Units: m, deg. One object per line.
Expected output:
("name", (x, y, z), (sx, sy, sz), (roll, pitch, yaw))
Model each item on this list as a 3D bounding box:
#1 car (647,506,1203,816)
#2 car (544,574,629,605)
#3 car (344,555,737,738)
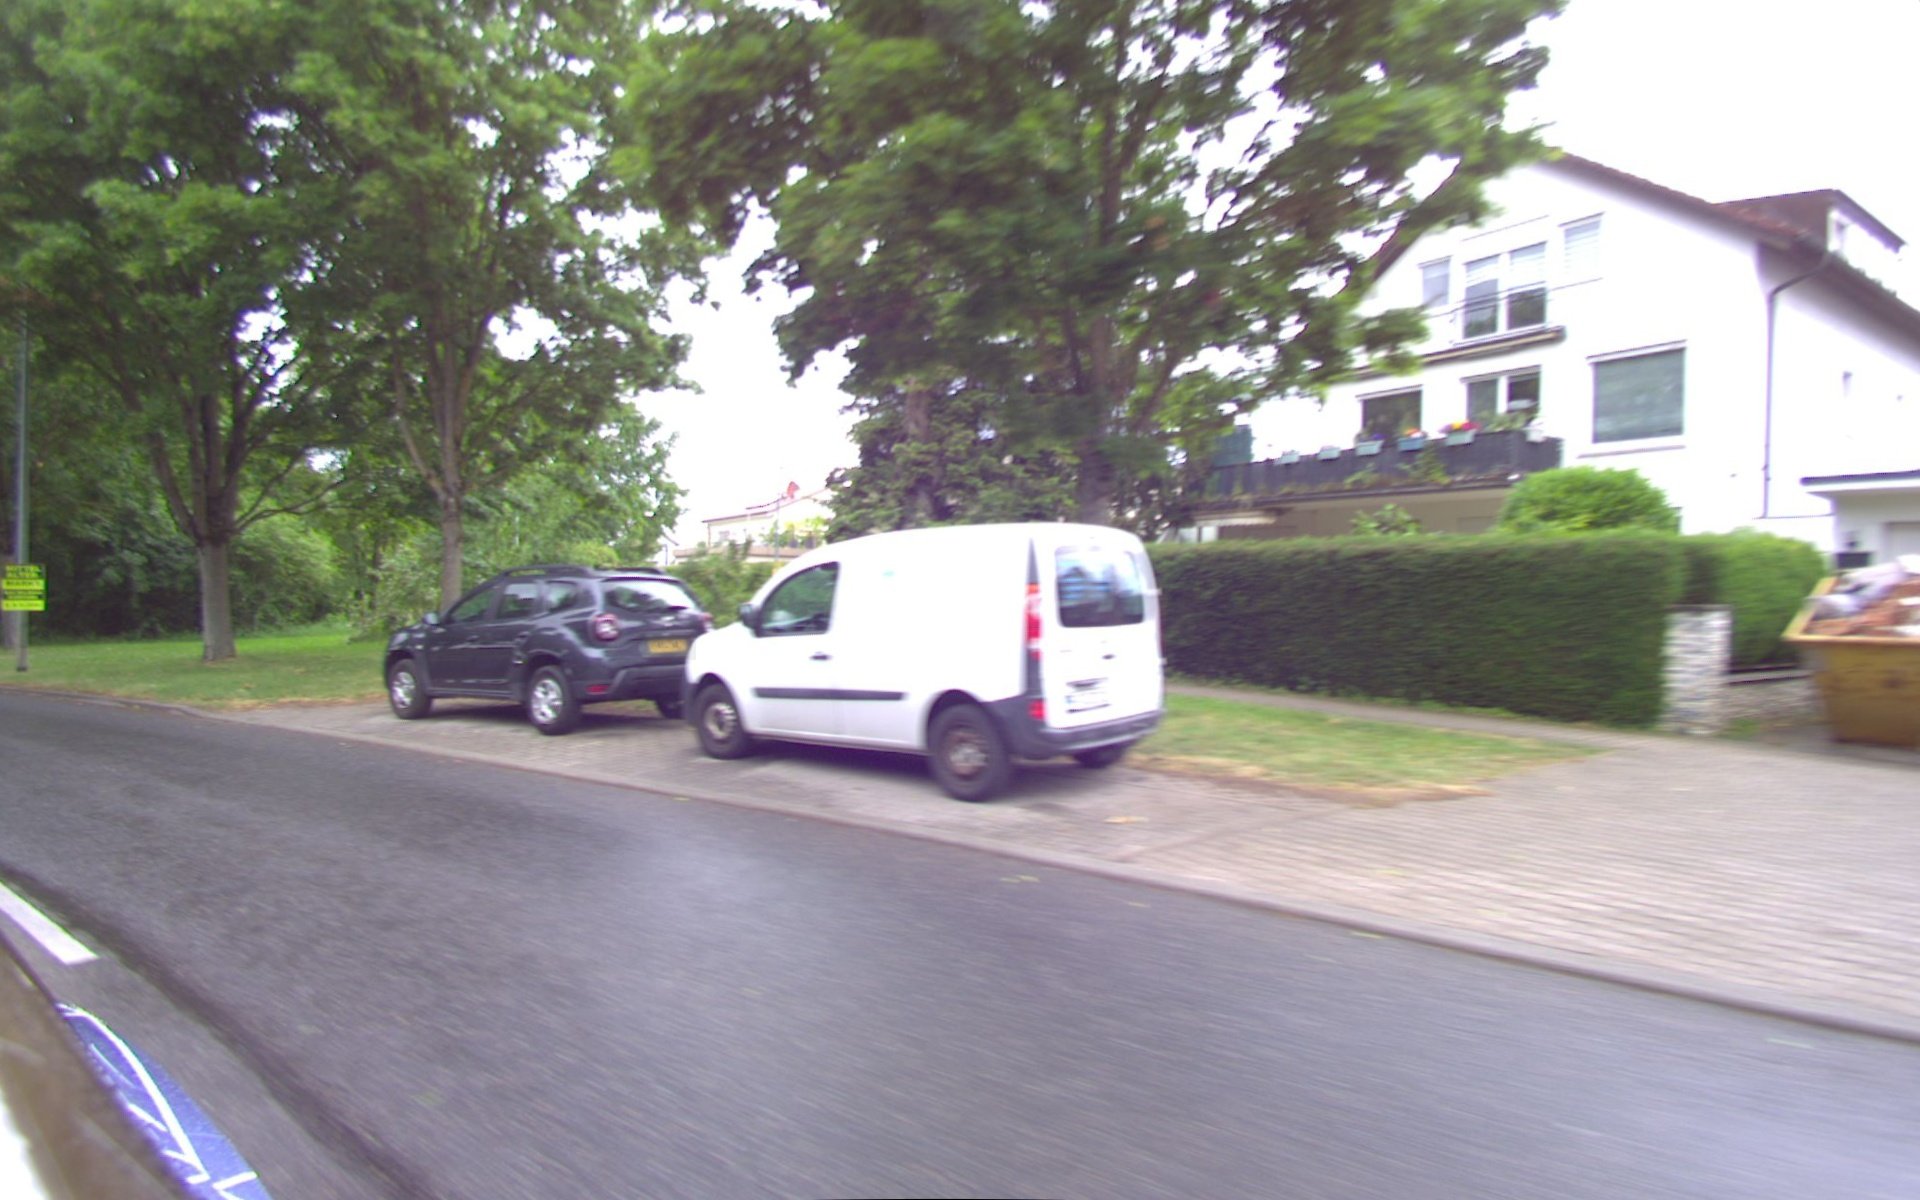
("car", (-0.486, 0.332, 8.030), (4.370, 1.809, 1.780), (0, 2, 41))
("car", (-18.094, -0.535, 49.017), (3.539, 1.386, 1.803), (-2, 3, -31))
("car", (-4.740, 0.379, 11.199), (4.579, 1.652, 1.736), (0, 3, 33))
